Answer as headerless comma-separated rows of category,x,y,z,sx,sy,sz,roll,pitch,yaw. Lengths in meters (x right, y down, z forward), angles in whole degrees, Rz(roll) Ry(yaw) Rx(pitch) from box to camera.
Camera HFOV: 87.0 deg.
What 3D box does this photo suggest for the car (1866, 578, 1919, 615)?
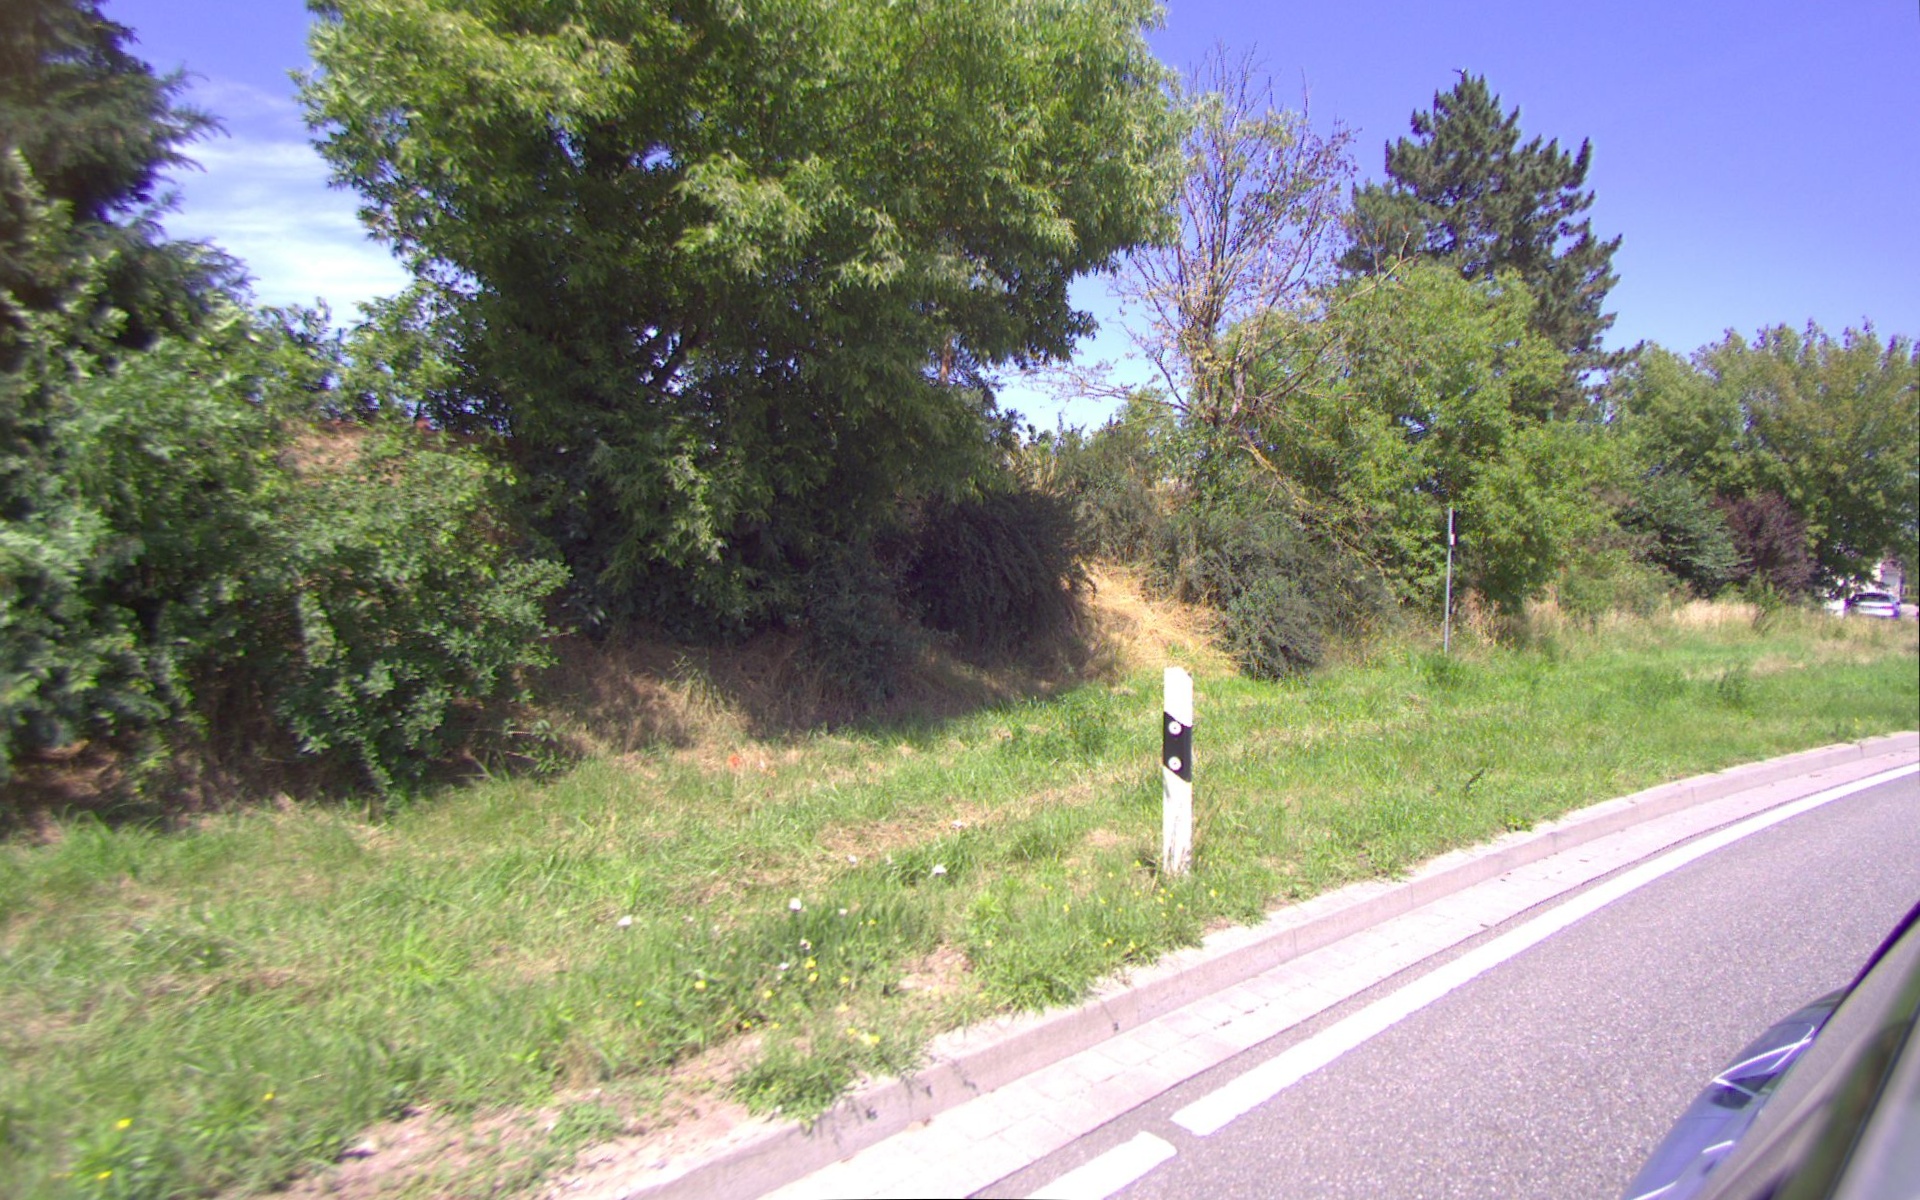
car,40.232,-0.127,43.370,3.900,1.460,1.770,1,2,-44
